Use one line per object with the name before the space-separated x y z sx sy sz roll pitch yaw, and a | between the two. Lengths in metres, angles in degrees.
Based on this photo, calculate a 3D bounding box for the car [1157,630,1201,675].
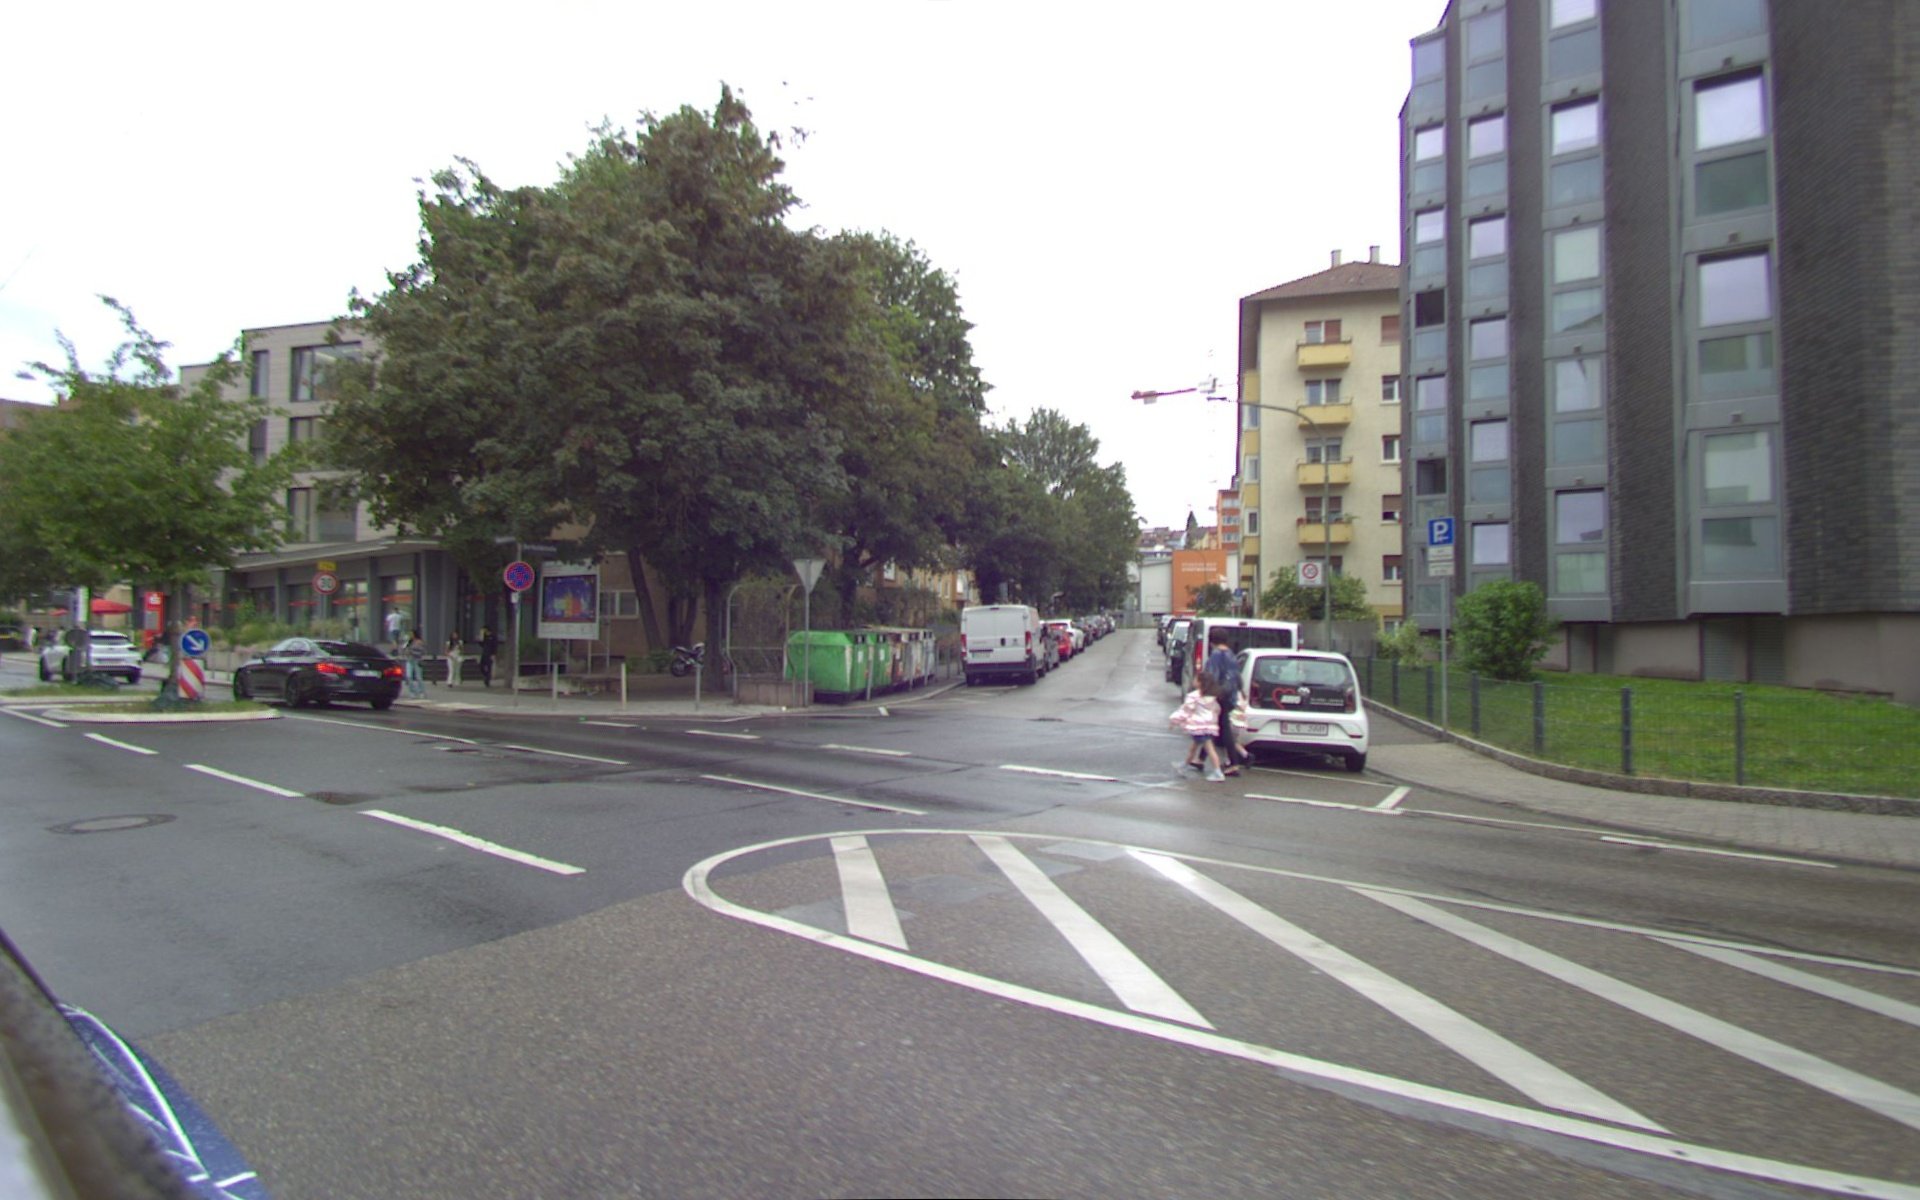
car | 10.523 2.514 48.669 1.980 2.029 3.983 0 -3 13

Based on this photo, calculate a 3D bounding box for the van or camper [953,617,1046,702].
van or camper | 1.268 1.677 29.996 2.187 2.283 4.605 -1 -1 9

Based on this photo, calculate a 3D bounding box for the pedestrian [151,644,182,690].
pedestrian | -32.153 2.694 41.011 0.716 1.840 0.719 -2 -3 19

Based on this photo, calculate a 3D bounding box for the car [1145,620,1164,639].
car | 21.906 3.326 113.676 1.980 2.029 3.983 0 -3 13

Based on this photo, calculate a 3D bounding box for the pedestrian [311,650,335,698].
pedestrian | -20.241 2.345 32.173 0.529 1.484 0.455 -2 -3 35

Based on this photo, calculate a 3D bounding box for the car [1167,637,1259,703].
car | 6.063 1.655 24.536 1.980 1.454 3.713 0 -3 13

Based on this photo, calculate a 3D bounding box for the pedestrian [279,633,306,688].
pedestrian | -20.852 1.884 31.626 0.551 1.686 0.493 -2 -3 35

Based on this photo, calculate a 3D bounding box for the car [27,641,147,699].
car | -26.359 2.094 30.523 4.082 1.581 1.803 -2 -8 37

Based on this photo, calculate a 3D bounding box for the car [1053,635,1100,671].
car | 6.833 3.086 59.030 1.983 2.029 3.976 -1 -3 17

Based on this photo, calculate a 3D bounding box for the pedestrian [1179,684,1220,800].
pedestrian | 2.609 1.528 11.029 0.310 1.207 0.406 -2 -3 32

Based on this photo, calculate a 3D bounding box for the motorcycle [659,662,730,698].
motorcycle | -8.412 2.510 32.131 2.025 0.995 0.798 -1 -1 -37

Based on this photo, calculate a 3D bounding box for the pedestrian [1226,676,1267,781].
pedestrian | 3.413 1.518 12.053 0.357 1.207 0.406 -2 -3 32

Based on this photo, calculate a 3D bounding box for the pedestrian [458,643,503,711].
pedestrian | -13.356 2.135 28.178 0.690 1.859 0.855 -1 -3 24

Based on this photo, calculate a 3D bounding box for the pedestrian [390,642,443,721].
pedestrian | -12.945 1.925 24.100 0.847 1.840 0.719 -2 -3 16

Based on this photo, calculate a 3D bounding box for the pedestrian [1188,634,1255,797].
pedestrian | 2.963 1.278 11.483 0.579 1.776 0.569 -2 -3 32

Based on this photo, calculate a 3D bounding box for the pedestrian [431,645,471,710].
pedestrian | -14.257 2.161 28.338 0.714 1.772 0.654 -1 -3 15

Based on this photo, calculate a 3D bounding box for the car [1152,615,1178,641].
car | 16.510 2.281 81.370 1.980 2.029 3.983 0 -3 13

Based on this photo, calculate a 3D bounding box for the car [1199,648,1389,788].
car | 4.359 1.488 13.728 1.720 1.581 3.581 1 -3 7

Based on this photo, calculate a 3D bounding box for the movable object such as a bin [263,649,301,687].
movable object such as a bin | -21.380 2.130 31.921 0.963 1.143 0.697 -2 -2 35

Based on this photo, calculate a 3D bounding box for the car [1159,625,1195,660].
car | 12.856 2.523 59.949 1.980 2.029 3.983 0 -3 13

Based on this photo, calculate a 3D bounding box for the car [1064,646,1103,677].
car | 8.494 4.204 69.174 1.983 2.029 3.976 -1 -3 17

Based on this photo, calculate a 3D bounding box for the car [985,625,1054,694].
car | 2.145 2.071 35.458 1.978 2.273 3.986 0 -3 10

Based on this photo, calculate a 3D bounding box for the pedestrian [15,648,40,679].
pedestrian | -53.246 3.594 57.787 0.755 1.722 0.789 -2 -1 13

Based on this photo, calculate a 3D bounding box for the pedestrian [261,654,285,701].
pedestrian | -21.207 2.376 31.233 0.480 1.421 0.429 -2 -3 35

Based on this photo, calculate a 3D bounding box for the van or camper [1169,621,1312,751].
van or camper | 5.029 1.469 18.824 1.977 2.029 4.953 1 -2 9

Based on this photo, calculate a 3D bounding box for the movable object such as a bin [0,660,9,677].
movable object such as a bin | -61.664 4.364 64.805 0.805 1.066 0.739 0 -2 13

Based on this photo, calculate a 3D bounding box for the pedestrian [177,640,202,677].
pedestrian | -35.428 2.691 46.557 0.701 1.691 0.803 1 -3 -24

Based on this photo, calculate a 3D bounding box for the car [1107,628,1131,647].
car | 17.051 4.053 108.657 1.983 2.029 3.976 -1 -3 17

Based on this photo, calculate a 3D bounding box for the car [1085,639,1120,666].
car | 10.915 4.021 77.347 1.983 2.029 3.976 -1 -3 17

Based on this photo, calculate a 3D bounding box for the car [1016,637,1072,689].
car | 3.579 2.591 42.509 1.978 2.029 3.987 0 -2 10

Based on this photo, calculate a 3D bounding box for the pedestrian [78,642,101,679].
pedestrian | -44.232 3.072 51.400 0.867 1.833 0.585 -1 -3 30

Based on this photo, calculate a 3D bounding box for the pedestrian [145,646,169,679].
pedestrian | -35.252 2.745 44.431 0.582 1.431 0.727 1 -3 -17

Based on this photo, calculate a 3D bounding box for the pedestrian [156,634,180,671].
pedestrian | -36.747 2.421 46.951 0.712 1.691 0.707 -2 -3 38

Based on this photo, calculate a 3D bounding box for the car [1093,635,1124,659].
car | 12.664 4.030 86.166 1.983 2.029 3.976 -1 -3 17

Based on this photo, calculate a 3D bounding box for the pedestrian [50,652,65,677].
pedestrian | -46.928 3.340 52.602 0.548 1.287 0.463 -2 -3 38

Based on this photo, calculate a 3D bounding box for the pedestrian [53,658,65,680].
pedestrian | -46.536 3.565 52.280 0.386 1.125 0.388 -2 -3 38

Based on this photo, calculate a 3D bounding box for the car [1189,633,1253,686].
car | 7.687 1.751 30.098 1.677 1.475 3.983 0 -3 12

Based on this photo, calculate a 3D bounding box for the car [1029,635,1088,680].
car | 4.702 2.732 47.808 1.983 2.029 3.976 -1 -3 17

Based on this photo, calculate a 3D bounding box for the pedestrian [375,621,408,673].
pedestrian | -20.362 1.674 36.259 0.714 1.840 0.721 -1 -3 10

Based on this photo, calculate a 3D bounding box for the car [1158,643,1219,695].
car | 8.088 2.403 35.903 1.980 1.741 3.983 0 -3 13

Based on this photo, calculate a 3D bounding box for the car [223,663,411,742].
car | -13.669 2.084 21.427 4.494 1.436 1.994 -2 -4 39
